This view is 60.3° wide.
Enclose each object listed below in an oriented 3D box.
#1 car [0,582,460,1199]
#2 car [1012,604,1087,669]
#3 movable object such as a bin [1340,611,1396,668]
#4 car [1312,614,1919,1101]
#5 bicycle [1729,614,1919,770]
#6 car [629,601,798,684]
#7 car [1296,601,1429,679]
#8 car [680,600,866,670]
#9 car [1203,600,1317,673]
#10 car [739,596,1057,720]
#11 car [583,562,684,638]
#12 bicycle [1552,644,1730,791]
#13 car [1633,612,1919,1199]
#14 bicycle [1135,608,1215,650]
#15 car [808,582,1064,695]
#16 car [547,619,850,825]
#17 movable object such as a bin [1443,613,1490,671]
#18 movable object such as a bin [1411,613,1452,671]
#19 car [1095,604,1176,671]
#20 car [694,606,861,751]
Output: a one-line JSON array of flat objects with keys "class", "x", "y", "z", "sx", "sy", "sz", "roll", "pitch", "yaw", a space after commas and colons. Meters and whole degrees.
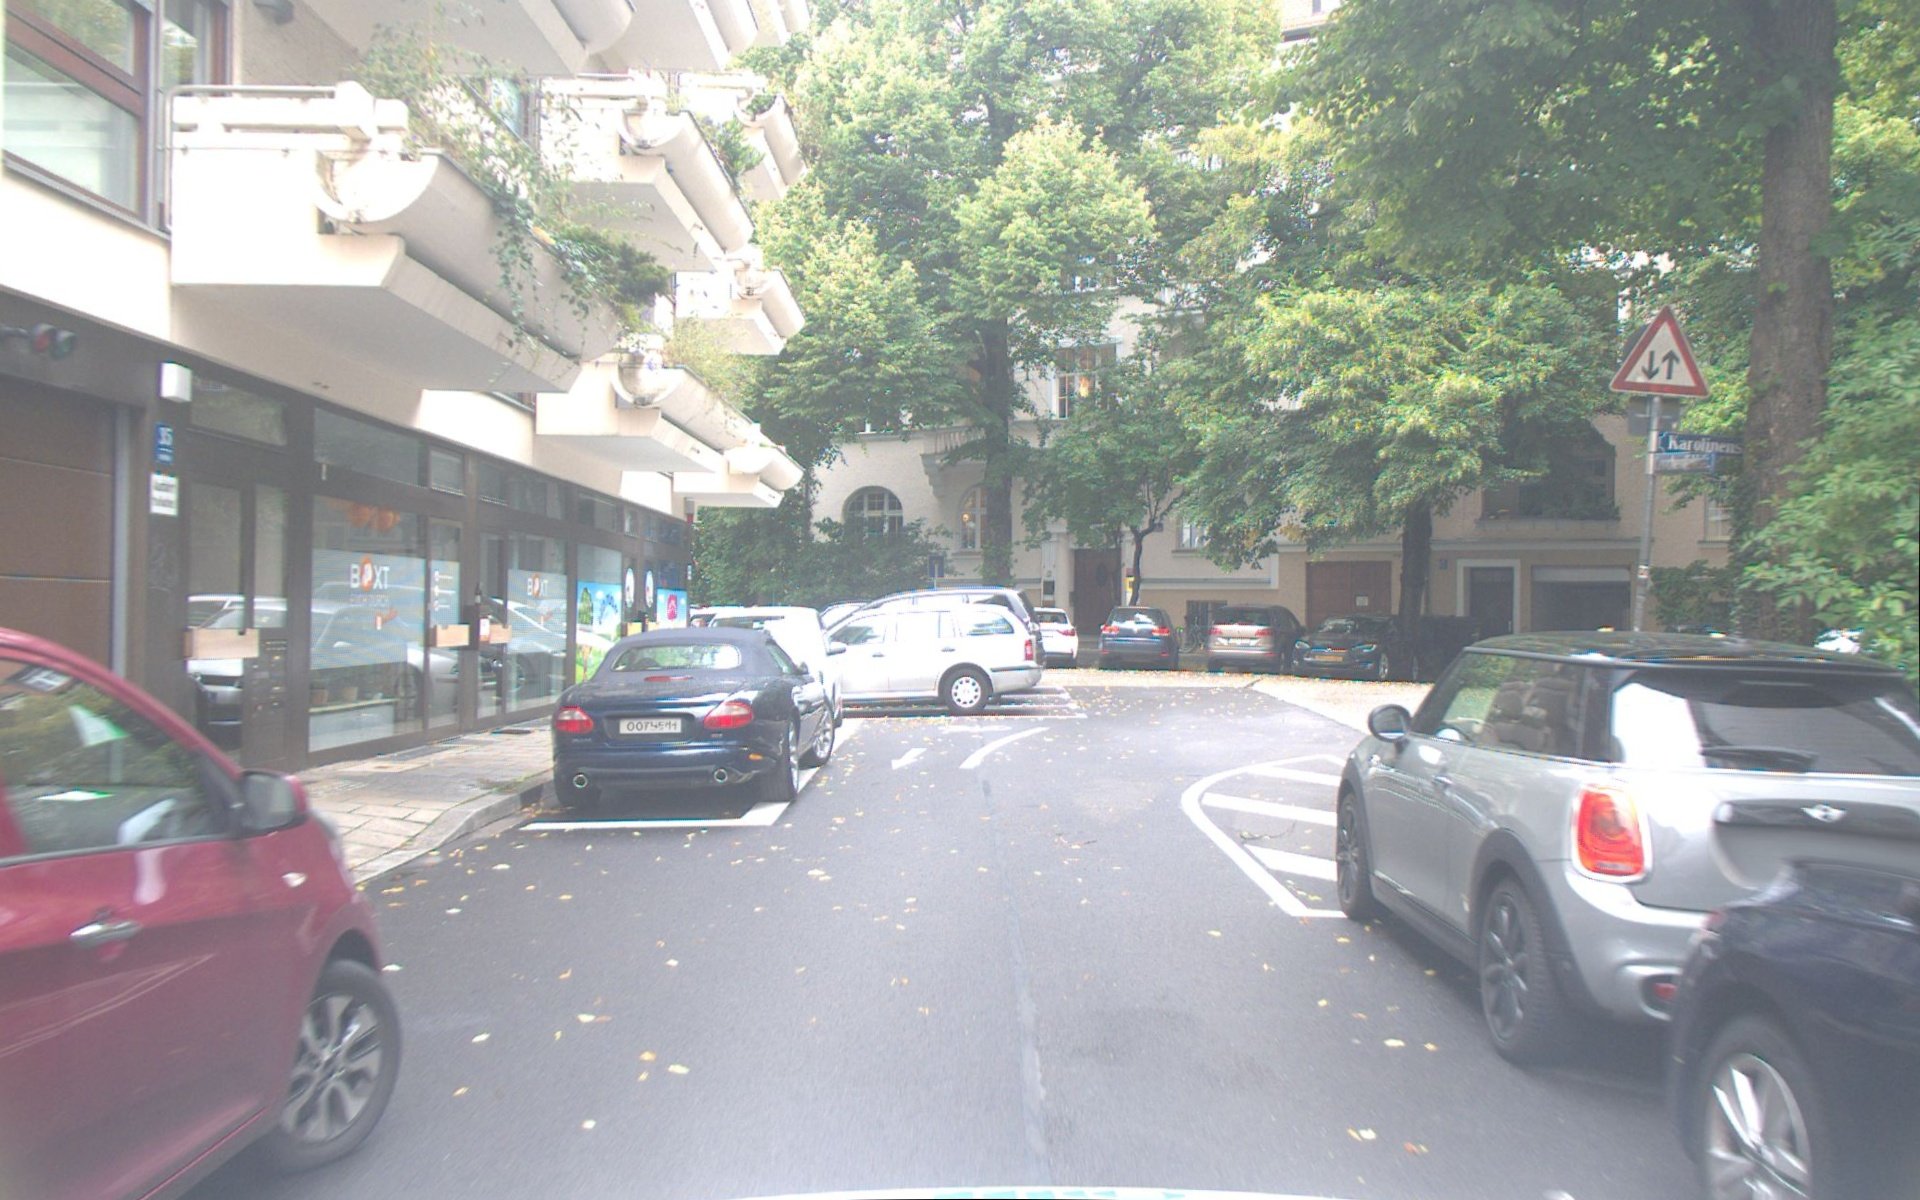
[{"class": "car", "x": -2.340, "y": 0.735, "z": 3.354, "sx": 1.586, "sy": 1.522, "sz": 3.708, "roll": 0, "pitch": 0, "yaw": -1}, {"class": "car", "x": 2.131, "y": 0.837, "z": 39.909, "sx": 1.683, "sy": 1.456, "sz": 4.001, "roll": 1, "pitch": 0, "yaw": 2}, {"class": "movable object such as a bin", "x": 10.158, "y": 0.968, "z": 41.164, "sx": 1.127, "sy": 1.372, "sz": 1.156, "roll": 1, "pitch": 0, "yaw": 25}, {"class": "car", "x": 2.754, "y": 0.801, "z": 7.035, "sx": 1.707, "sy": 1.466, "sz": 4.000, "roll": 0, "pitch": 0, "yaw": 1}, {"class": "bicycle", "x": 6.439, "y": 0.655, "z": 11.935, "sx": 1.603, "sy": 1.074, "sz": 0.603, "roll": 1, "pitch": 0, "yaw": -16}, {"class": "car", "x": -5.133, "y": 0.879, "z": 34.382, "sx": 3.239, "sy": 1.660, "sz": 1.501, "roll": 1, "pitch": -1, "yaw": -20}, {"class": "car", "x": 8.815, "y": 0.908, "z": 35.950, "sx": 1.672, "sy": 1.492, "sz": 4.280, "roll": 2, "pitch": -2, "yaw": 29}, {"class": "car", "x": -3.682, "y": 0.683, "z": 32.437, "sx": 3.394, "sy": 1.307, "sz": 1.523, "roll": 1, "pitch": 0, "yaw": -17}, {"class": "car", "x": 6.996, "y": 0.814, "z": 38.279, "sx": 1.801, "sy": 1.557, "sz": 4.024, "roll": 1, "pitch": 0, "yaw": 22}, {"class": "car", "x": -0.822, "y": 0.765, "z": 22.654, "sx": 4.142, "sy": 1.480, "sz": 1.721, "roll": -2, "pitch": 0, "yaw": -1}, {"class": "car", "x": -7.479, "y": -0.001, "z": 38.194, "sx": 1.666, "sy": 1.629, "sz": 3.998, "roll": 1, "pitch": 0, "yaw": -2}, {"class": "bicycle", "x": 5.756, "y": 0.957, "z": 13.933, "sx": 1.753, "sy": 1.157, "sz": 0.547, "roll": 1, "pitch": -1, "yaw": -36}, {"class": "car", "x": 2.707, "y": 0.742, "z": 2.340, "sx": 1.796, "sy": 1.444, "sz": 4.057, "roll": 0, "pitch": 0, "yaw": -1}, {"class": "bicycle", "x": 6.145, "y": 0.832, "z": 47.333, "sx": 2.186, "sy": 1.135, "sz": 0.576, "roll": 1, "pitch": 0, "yaw": 28}, {"class": "car", "x": -0.414, "y": 0.632, "z": 27.909, "sx": 4.135, "sy": 1.713, "sz": 1.902, "roll": -2, "pitch": 0, "yaw": -2}, {"class": "car", "x": -1.924, "y": 0.853, "z": 13.523, "sx": 1.760, "sy": 1.300, "sz": 4.616, "roll": -1, "pitch": 0, "yaw": -1}, {"class": "movable object such as a bin", "x": 12.219, "y": 1.005, "z": 39.878, "sx": 0.845, "sy": 1.328, "sz": 1.431, "roll": 3, "pitch": 1, "yaw": 25}, {"class": "movable object such as a bin", "x": 11.560, "y": 1.017, "z": 40.525, "sx": 0.699, "sy": 1.371, "sz": 1.371, "roll": 1, "pitch": 0, "yaw": 27}, {"class": "car", "x": 4.131, "y": 0.833, "z": 38.778, "sx": 1.753, "sy": 1.456, "sz": 4.003, "roll": 1, "pitch": 0, "yaw": 7}, {"class": "car", "x": -1.986, "y": 0.809, "z": 18.900, "sx": 1.529, "sy": 1.446, "sz": 3.832, "roll": -1, "pitch": 0, "yaw": -1}]
